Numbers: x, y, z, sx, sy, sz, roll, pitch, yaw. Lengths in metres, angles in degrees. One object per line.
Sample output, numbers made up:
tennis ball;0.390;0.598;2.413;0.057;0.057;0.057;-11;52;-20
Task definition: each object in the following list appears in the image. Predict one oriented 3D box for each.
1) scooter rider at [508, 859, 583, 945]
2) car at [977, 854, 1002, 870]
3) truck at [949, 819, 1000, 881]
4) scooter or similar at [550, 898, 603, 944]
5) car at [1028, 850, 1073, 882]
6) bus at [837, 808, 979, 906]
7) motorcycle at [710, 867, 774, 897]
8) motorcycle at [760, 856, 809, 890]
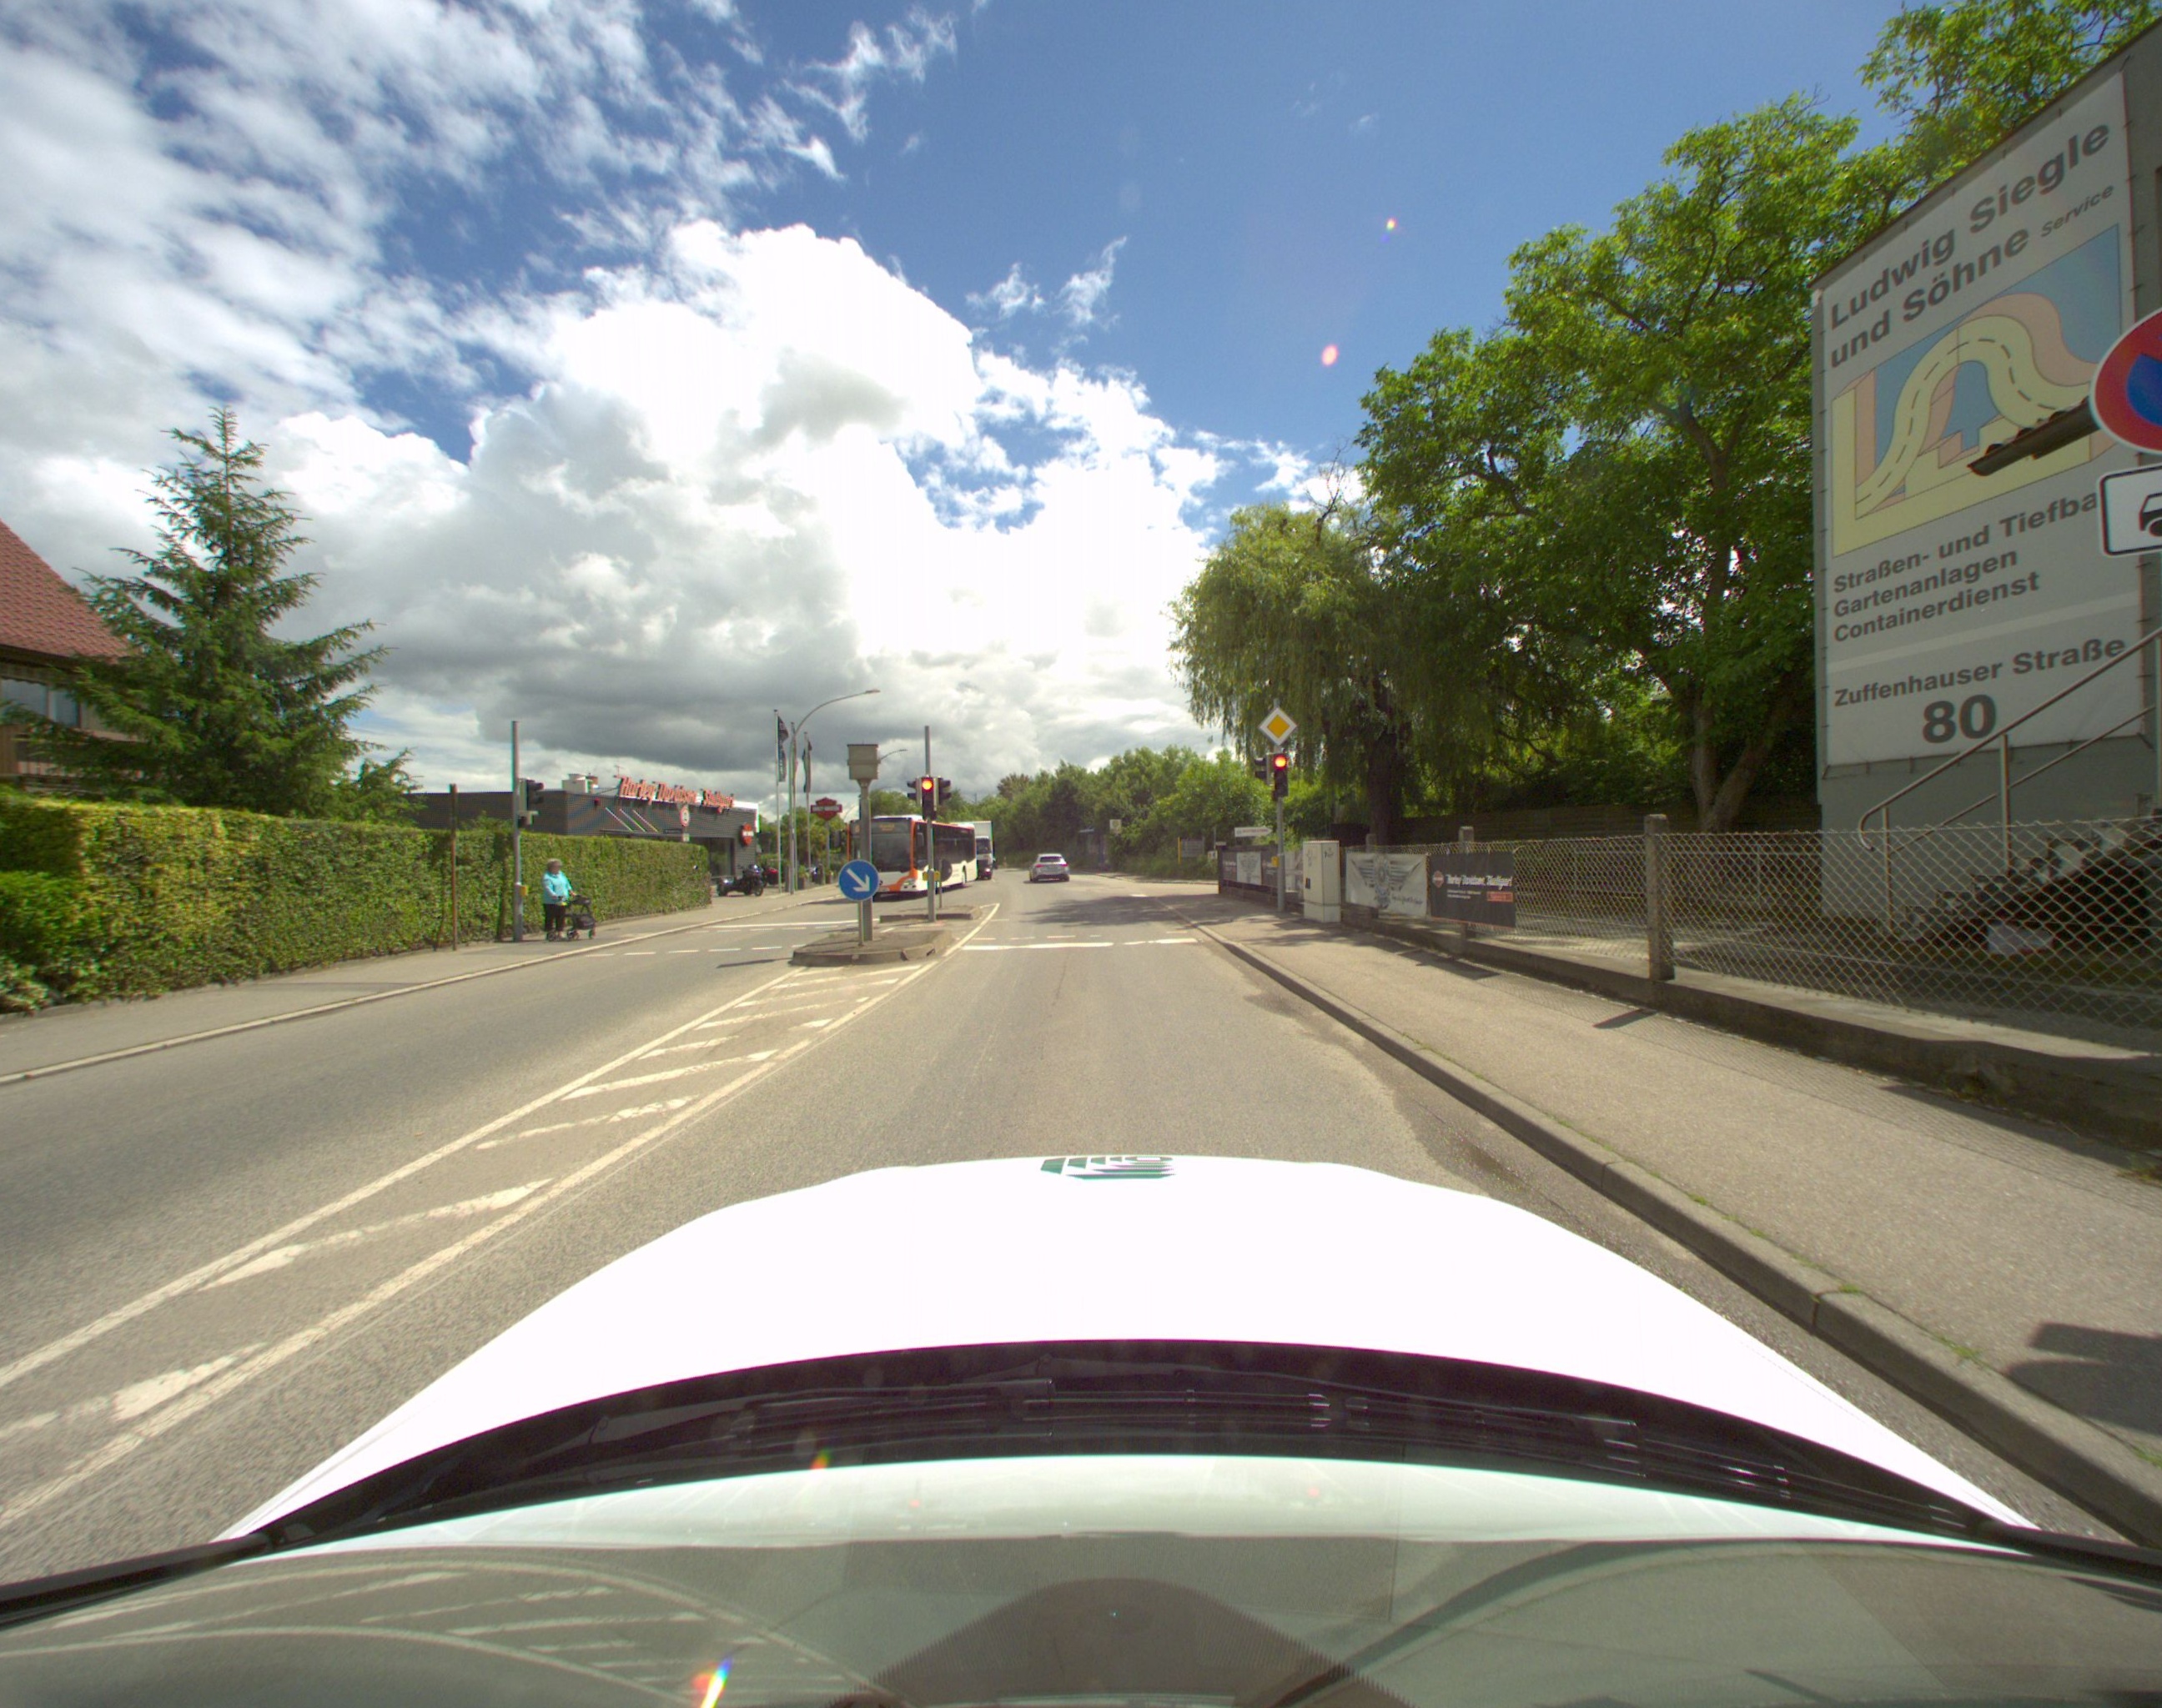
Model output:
scooter rider;-10.340;0.913;15.765;0.875;1.589;0.796;-2;0;-1
car;-8.770;0.747;77.666;1.887;1.508;3.981;-1;0;-14
truck;-6.790;-0.242;52.535;2.837;3.540;9.701;-2;0;-7
scooter or similar;-9.735;1.288;15.743;0.609;0.831;0.659;0;0;-1
car;-1.615;0.575;41.866;1.884;1.508;3.989;-2;0;-8
bus;-6.730;0.062;34.188;2.766;3.266;12.130;-3;0;2
motorcycle;-14.020;1.153;33.670;2.478;1.218;0.931;-1;-1;22
motorcycle;-15.334;0.986;42.121;2.282;1.683;1.047;-1;-1;22
